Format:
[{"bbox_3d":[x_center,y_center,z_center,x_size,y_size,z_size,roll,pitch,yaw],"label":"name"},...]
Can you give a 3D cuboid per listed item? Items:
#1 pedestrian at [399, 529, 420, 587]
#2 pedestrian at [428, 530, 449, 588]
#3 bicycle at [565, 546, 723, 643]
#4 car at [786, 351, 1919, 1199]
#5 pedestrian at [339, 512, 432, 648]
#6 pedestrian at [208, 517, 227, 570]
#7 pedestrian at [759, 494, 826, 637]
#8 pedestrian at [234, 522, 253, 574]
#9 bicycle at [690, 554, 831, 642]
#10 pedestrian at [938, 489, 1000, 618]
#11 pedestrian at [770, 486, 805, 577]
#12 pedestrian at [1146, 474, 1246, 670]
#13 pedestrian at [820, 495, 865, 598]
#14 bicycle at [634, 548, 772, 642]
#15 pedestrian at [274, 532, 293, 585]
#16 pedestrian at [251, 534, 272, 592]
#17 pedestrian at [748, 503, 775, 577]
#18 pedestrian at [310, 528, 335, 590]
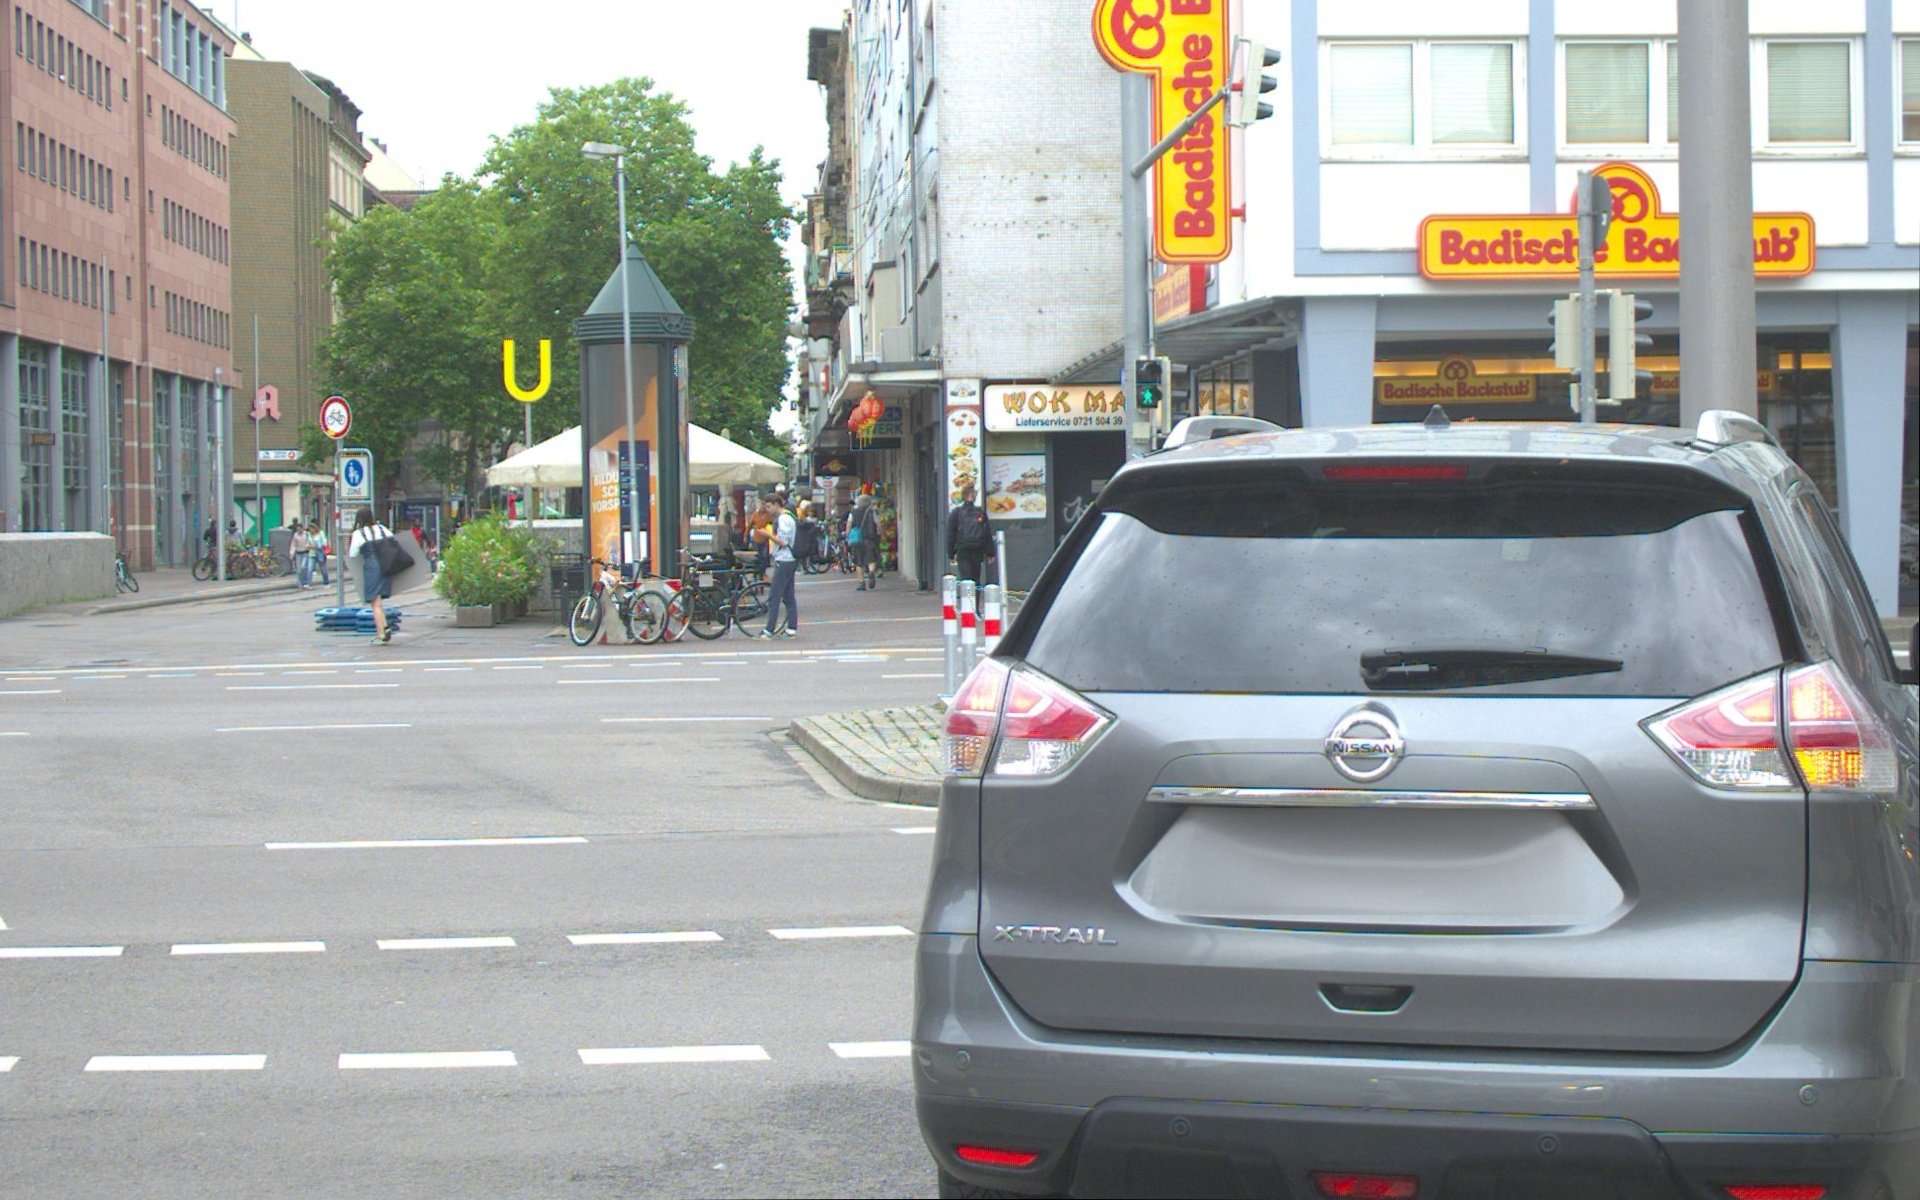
[{"bbox_3d":[-16.322,-1.253,101.949,0.600,1.708,0.656,0,1,-10],"label":"pedestrian"},{"bbox_3d":[-15.485,-1.217,102.141,0.600,1.708,0.656,0,1,-10],"label":"pedestrian"},{"bbox_3d":[-3.878,-0.075,42.222,1.866,1.167,0.531,0,1,-17],"label":"bicycle"},{"bbox_3d":[1.293,0.458,7.521,1.865,1.768,4.563,0,1,17],"label":"car"},{"bbox_3d":[-7.214,-0.259,43.212,0.926,1.699,0.734,1,1,17],"label":"pedestrian"},{"bbox_3d":[-24.414,-1.859,113.078,0.600,1.708,0.656,0,1,-10],"label":"pedestrian"},{"bbox_3d":[-2.048,-0.427,42.051,0.732,1.739,0.663,0,1,-11],"label":"pedestrian"},{"bbox_3d":[-23.583,-1.709,113.176,0.600,1.708,0.656,0,1,-10],"label":"pedestrian"},{"bbox_3d":[-2.461,-0.030,42.415,1.696,1.062,0.437,0,1,4],"label":"bicycle"},{"bbox_3d":[0.125,-0.623,45.600,0.710,1.699,0.734,0,1,9],"label":"pedestrian"},{"bbox_3d":[-3.256,-1.298,64.972,0.643,1.699,0.559,0,1,-2],"label":"pedestrian"},{"bbox_3d":[2.231,-0.269,32.573,0.712,1.826,1.017,0,1,-10],"label":"pedestrian"},{"bbox_3d":[-2.107,-0.959,61.463,0.737,1.815,0.662,-1,1,-5],"label":"pedestrian"},{"bbox_3d":[-3.215,-0.066,42.989,1.695,1.167,0.437,0,1,-9],"label":"bicycle"},{"bbox_3d":[-21.780,-1.335,110.681,0.600,1.708,0.656,0,1,-10],"label":"pedestrian"},{"bbox_3d":[-20.805,-1.099,102.461,0.600,1.708,0.656,0,1,-10],"label":"pedestrian"},{"bbox_3d":[-4.584,-1.381,79.392,0.611,1.699,0.620,0,1,-2],"label":"pedestrian"},{"bbox_3d":[-15.709,-1.011,84.718,0.600,1.531,0.656,0,1,-10],"label":"pedestrian"}]
